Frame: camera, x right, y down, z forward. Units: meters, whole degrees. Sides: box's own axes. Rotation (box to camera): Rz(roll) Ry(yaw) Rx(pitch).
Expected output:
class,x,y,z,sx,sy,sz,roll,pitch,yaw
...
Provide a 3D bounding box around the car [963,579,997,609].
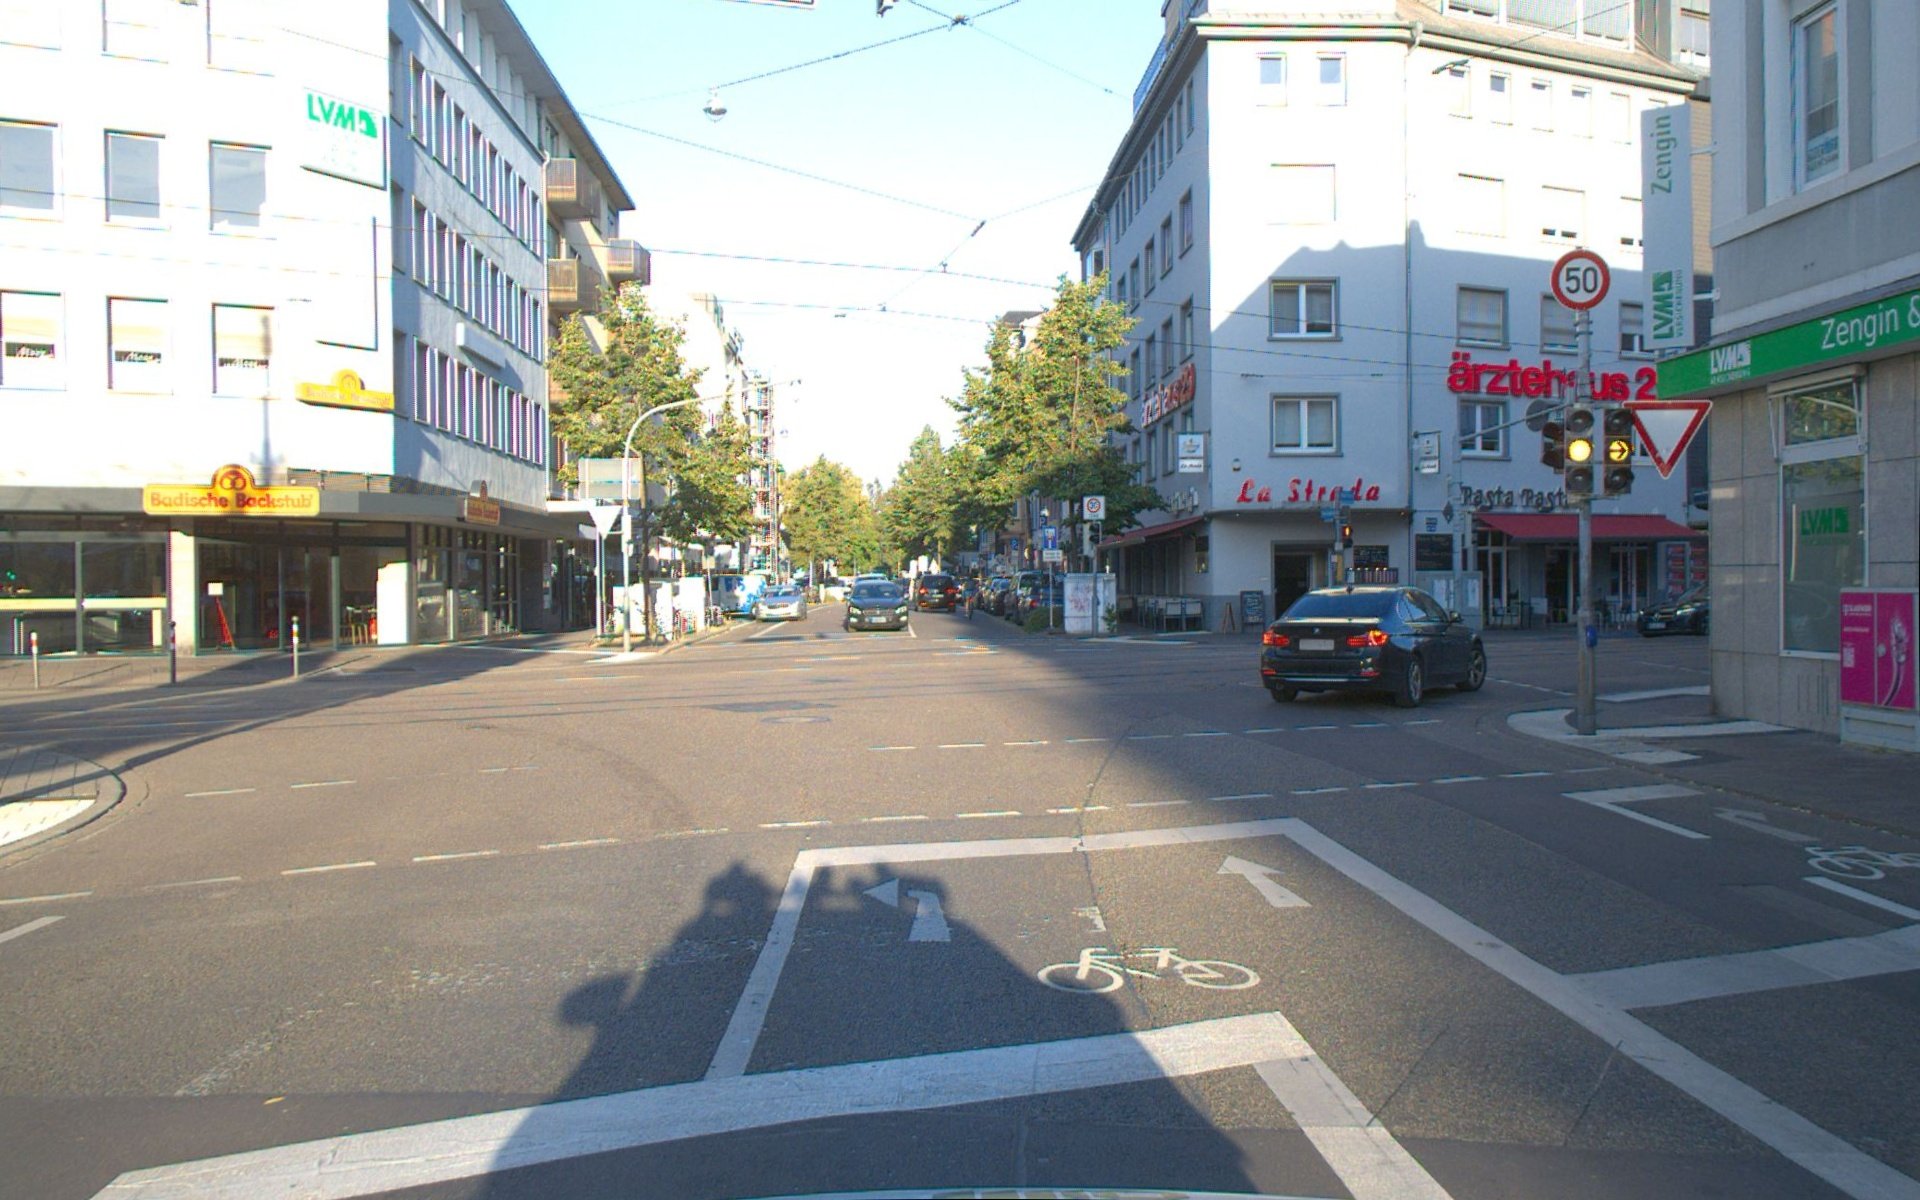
class,x,y,z,sx,sy,sz,roll,pitch,yaw
car,1.166,-0.340,96.652,1.775,1.697,4.204,1,0,-2

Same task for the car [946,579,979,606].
class,x,y,z,sx,sy,sz,roll,pitch,yaw
car,0.156,-0.467,109.508,1.789,1.725,4.363,1,0,-6

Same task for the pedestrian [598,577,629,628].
class,x,y,z,sx,sy,sz,roll,pitch,yaw
pedestrian,-11.886,0.081,56.786,0.756,1.705,0.739,0,0,40

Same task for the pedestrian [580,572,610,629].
class,x,y,z,sx,sy,sz,roll,pitch,yaw
pedestrian,-12.325,0.016,55.838,0.751,1.879,0.744,0,1,7

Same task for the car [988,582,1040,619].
class,x,y,z,sx,sy,sz,roll,pitch,yaw
car,2.194,-0.017,67.877,1.718,1.445,4.507,1,1,-3

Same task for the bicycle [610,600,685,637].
class,x,y,z,sx,sy,sz,roll,pitch,yaw
bicycle,-8.571,0.507,45.421,1.971,1.009,0.490,1,0,-7

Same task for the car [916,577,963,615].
class,x,y,z,sx,sy,sz,roll,pitch,yaw
car,-0.890,-0.177,73.901,1.952,1.629,4.510,1,0,1

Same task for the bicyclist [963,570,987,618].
class,x,y,z,sx,sy,sz,roll,pitch,yaw
bicyclist,0.549,-0.216,61.329,0.765,1.726,1.006,-1,0,-5

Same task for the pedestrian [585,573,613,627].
class,x,y,z,sx,sy,sz,roll,pitch,yaw
pedestrian,-12.546,0.006,57.495,0.725,1.850,0.813,-1,1,-1

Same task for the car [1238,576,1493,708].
class,x,y,z,sx,sy,sz,roll,pitch,yaw
car,5.242,0.440,20.940,1.957,1.444,4.501,0,1,30

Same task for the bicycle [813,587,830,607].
class,x,y,z,sx,sy,sz,roll,pitch,yaw
bicycle,-9.575,-0.196,114.138,0.829,1.374,3.178,-1,0,-11

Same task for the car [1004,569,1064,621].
class,x,y,z,sx,sy,sz,roll,pitch,yaw
car,2.638,-0.199,59.766,1.622,1.809,4.007,1,1,-6

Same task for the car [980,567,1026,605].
class,x,y,z,sx,sy,sz,roll,pitch,yaw
car,2.077,-0.671,81.254,1.846,1.785,5.055,1,0,-4

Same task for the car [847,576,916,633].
class,x,y,z,sx,sy,sz,roll,pitch,yaw
car,-2.426,0.104,50.145,1.920,1.574,4.505,-1,1,-5

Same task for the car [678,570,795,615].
class,x,y,z,sx,sy,sz,roll,pitch,yaw
car,-9.682,-0.302,72.010,4.842,1.860,1.968,1,0,-44

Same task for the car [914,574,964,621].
class,x,y,z,sx,sy,sz,roll,pitch,yaw
car,-0.803,-0.078,60.202,1.689,1.576,4.463,-2,0,-2

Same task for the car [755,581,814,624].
class,x,y,z,sx,sy,sz,roll,pitch,yaw
car,-6.838,0.105,64.889,1.954,1.538,4.507,-3,0,-3

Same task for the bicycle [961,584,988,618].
class,x,y,z,sx,sy,sz,roll,pitch,yaw
bicycle,0.530,0.045,61.282,0.765,1.225,2.019,-1,0,-5

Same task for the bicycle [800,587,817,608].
class,x,y,z,sx,sy,sz,roll,pitch,yaw
bicycle,-10.440,-0.162,113.958,0.877,1.420,3.158,0,0,-11
